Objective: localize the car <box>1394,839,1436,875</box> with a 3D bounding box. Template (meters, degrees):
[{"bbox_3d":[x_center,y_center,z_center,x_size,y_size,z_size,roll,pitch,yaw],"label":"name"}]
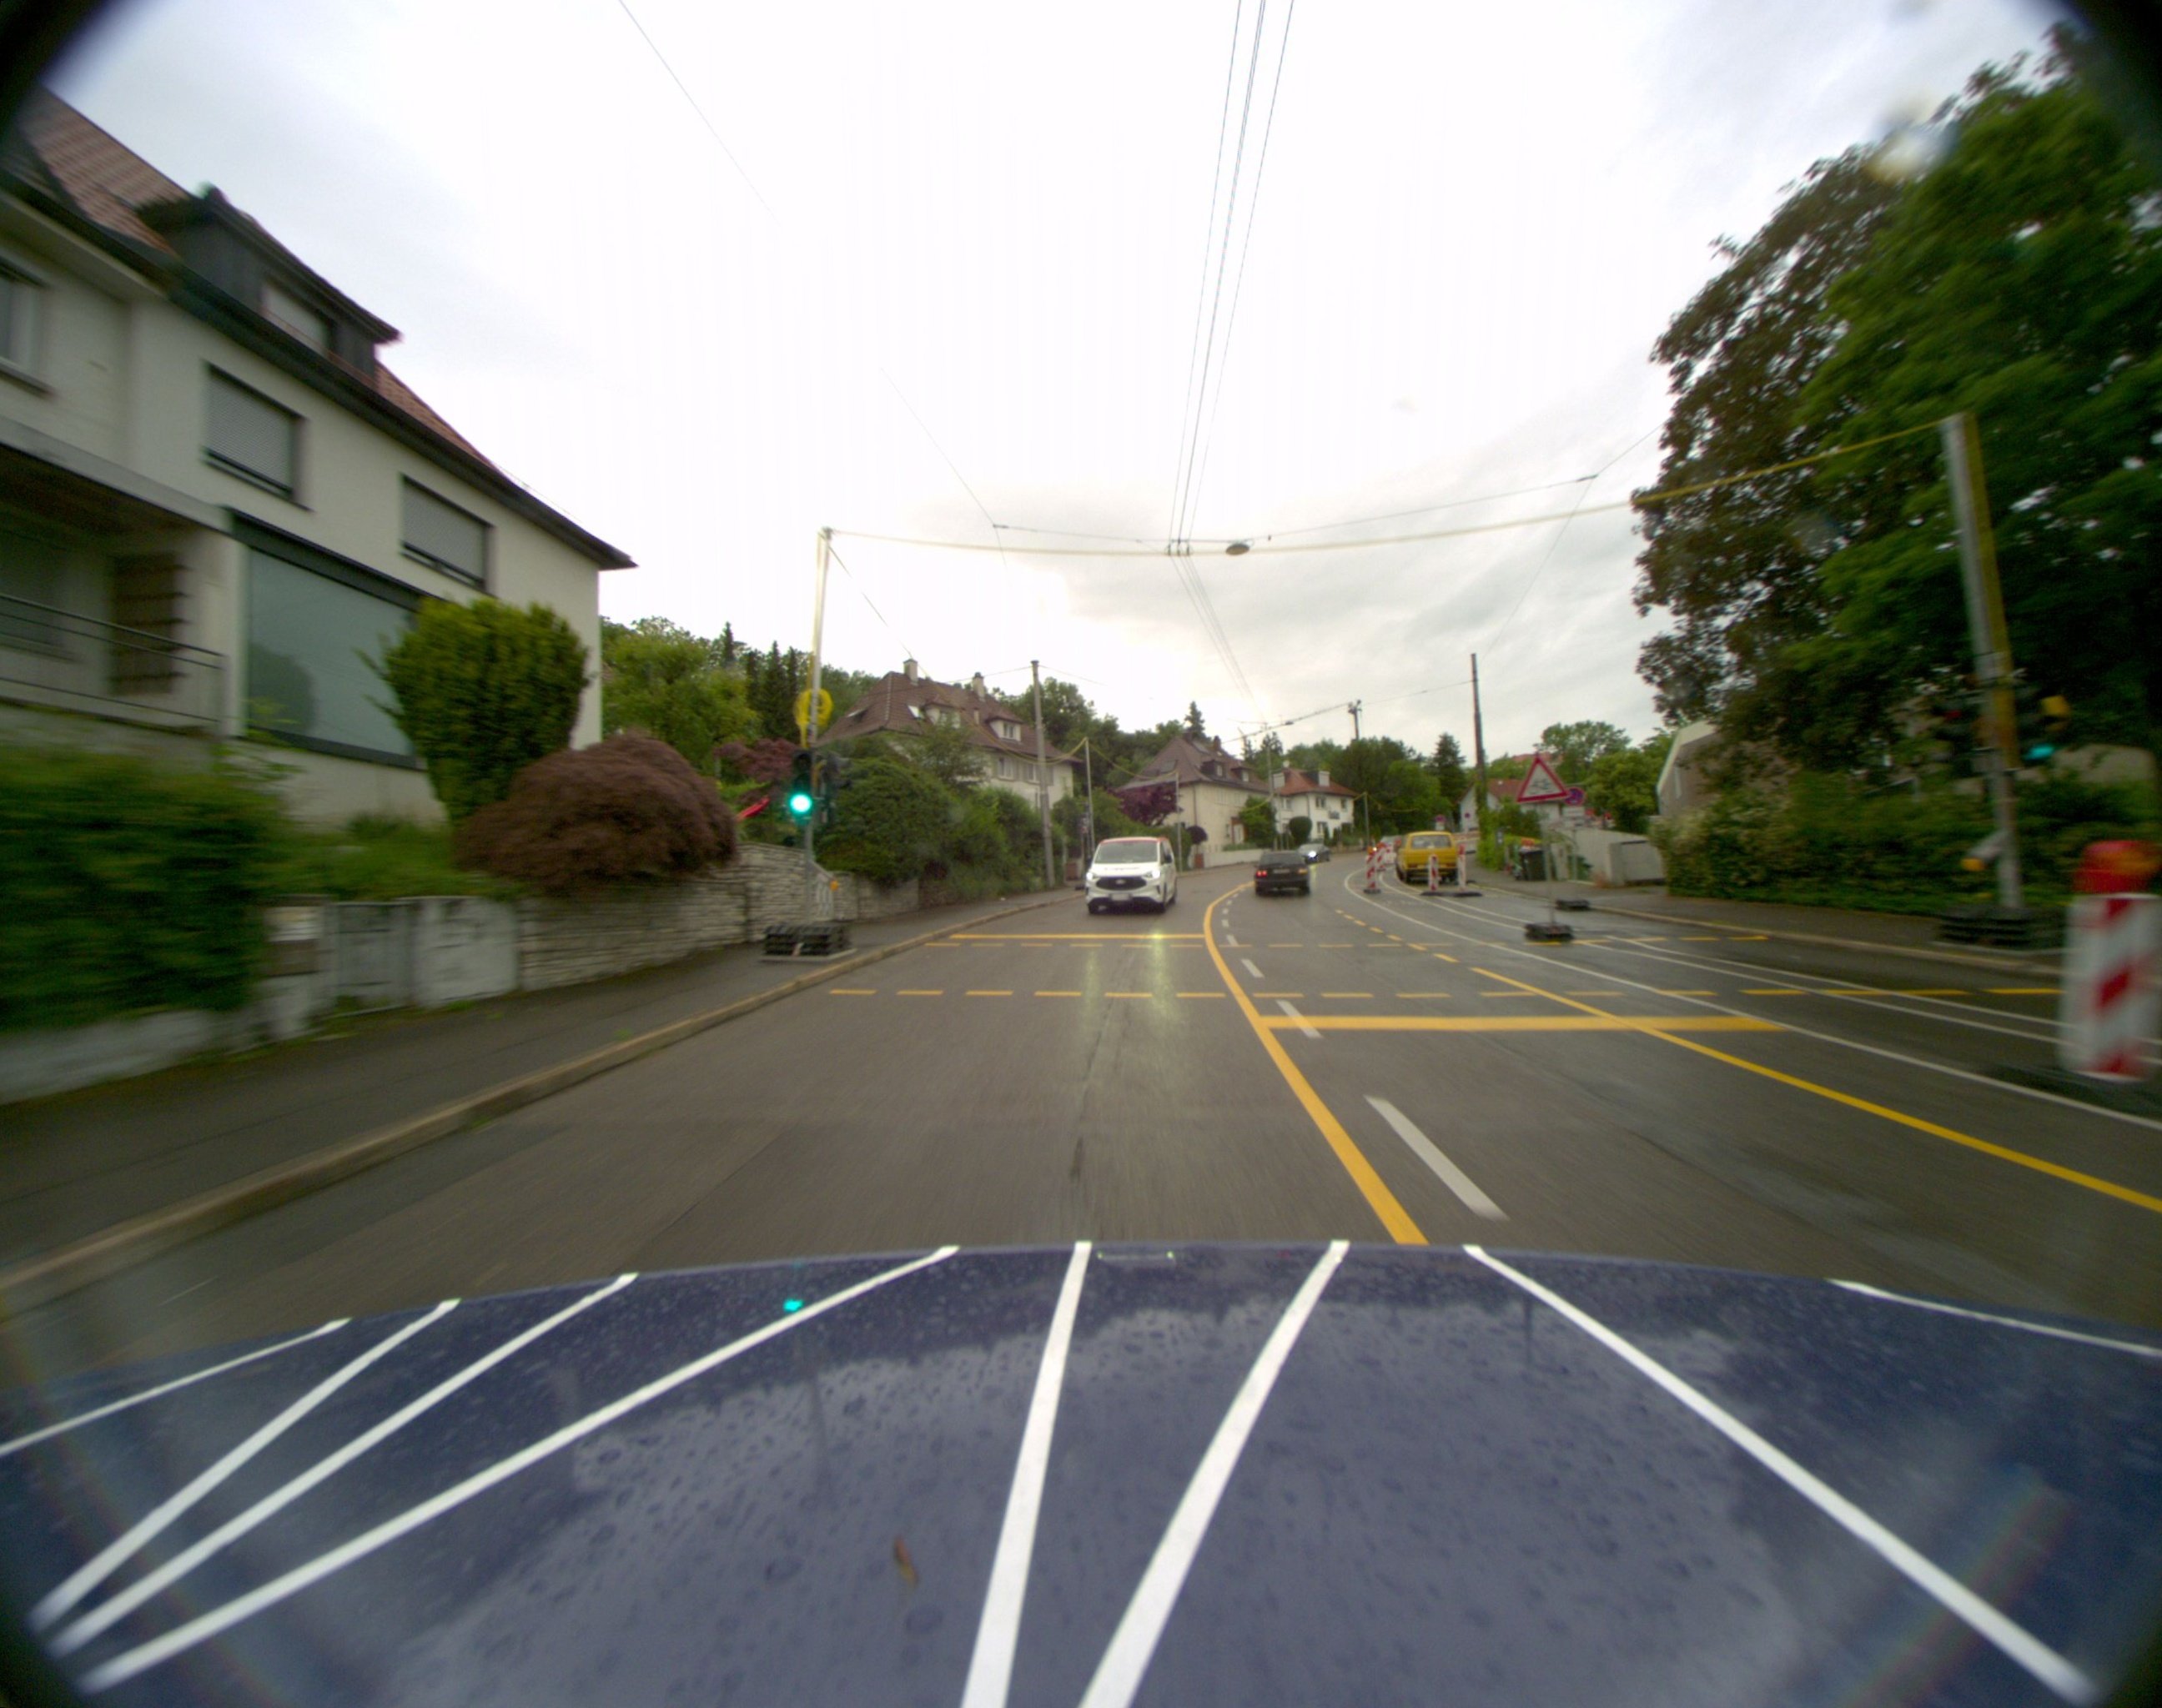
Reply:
[{"bbox_3d":[15.211,0.094,34.761,1.576,1.446,3.469,-2,2,21],"label":"car"}]

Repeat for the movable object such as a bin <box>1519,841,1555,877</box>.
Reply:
[{"bbox_3d":[15.273,0.161,25.463,0.859,1.134,0.713,-3,2,17],"label":"movable object such as a bin"}]

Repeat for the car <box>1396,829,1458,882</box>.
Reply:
[{"bbox_3d":[13.497,0.005,29.879,1.805,1.917,4.583,-1,1,20],"label":"car"}]

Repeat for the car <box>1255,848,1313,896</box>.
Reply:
[{"bbox_3d":[6.893,0.555,25.873,1.701,1.452,4.688,-1,0,14],"label":"car"}]

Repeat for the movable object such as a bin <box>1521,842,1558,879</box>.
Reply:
[{"bbox_3d":[14.950,0.199,24.778,0.859,1.134,0.713,-3,2,17],"label":"movable object such as a bin"}]

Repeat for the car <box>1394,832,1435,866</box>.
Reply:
[{"bbox_3d":[17.746,-0.296,40.564,1.721,1.598,4.469,-3,1,21],"label":"car"}]

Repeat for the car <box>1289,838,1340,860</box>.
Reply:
[{"bbox_3d":[17.630,-0.389,57.295,1.985,1.428,4.523,-3,1,41],"label":"car"}]

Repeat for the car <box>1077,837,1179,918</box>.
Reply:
[{"bbox_3d":[1.410,0.534,20.614,2.039,1.928,4.519,0,1,13],"label":"car"}]

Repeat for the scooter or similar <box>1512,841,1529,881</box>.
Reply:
[{"bbox_3d":[15.000,0.234,25.952,0.399,1.253,1.319,-6,0,30],"label":"scooter or similar"}]

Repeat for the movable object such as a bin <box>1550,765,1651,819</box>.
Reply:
[{"bbox_3d":[71.613,-8.452,104.978,7.045,6.515,9.037,-5,2,-27],"label":"movable object such as a bin"}]
